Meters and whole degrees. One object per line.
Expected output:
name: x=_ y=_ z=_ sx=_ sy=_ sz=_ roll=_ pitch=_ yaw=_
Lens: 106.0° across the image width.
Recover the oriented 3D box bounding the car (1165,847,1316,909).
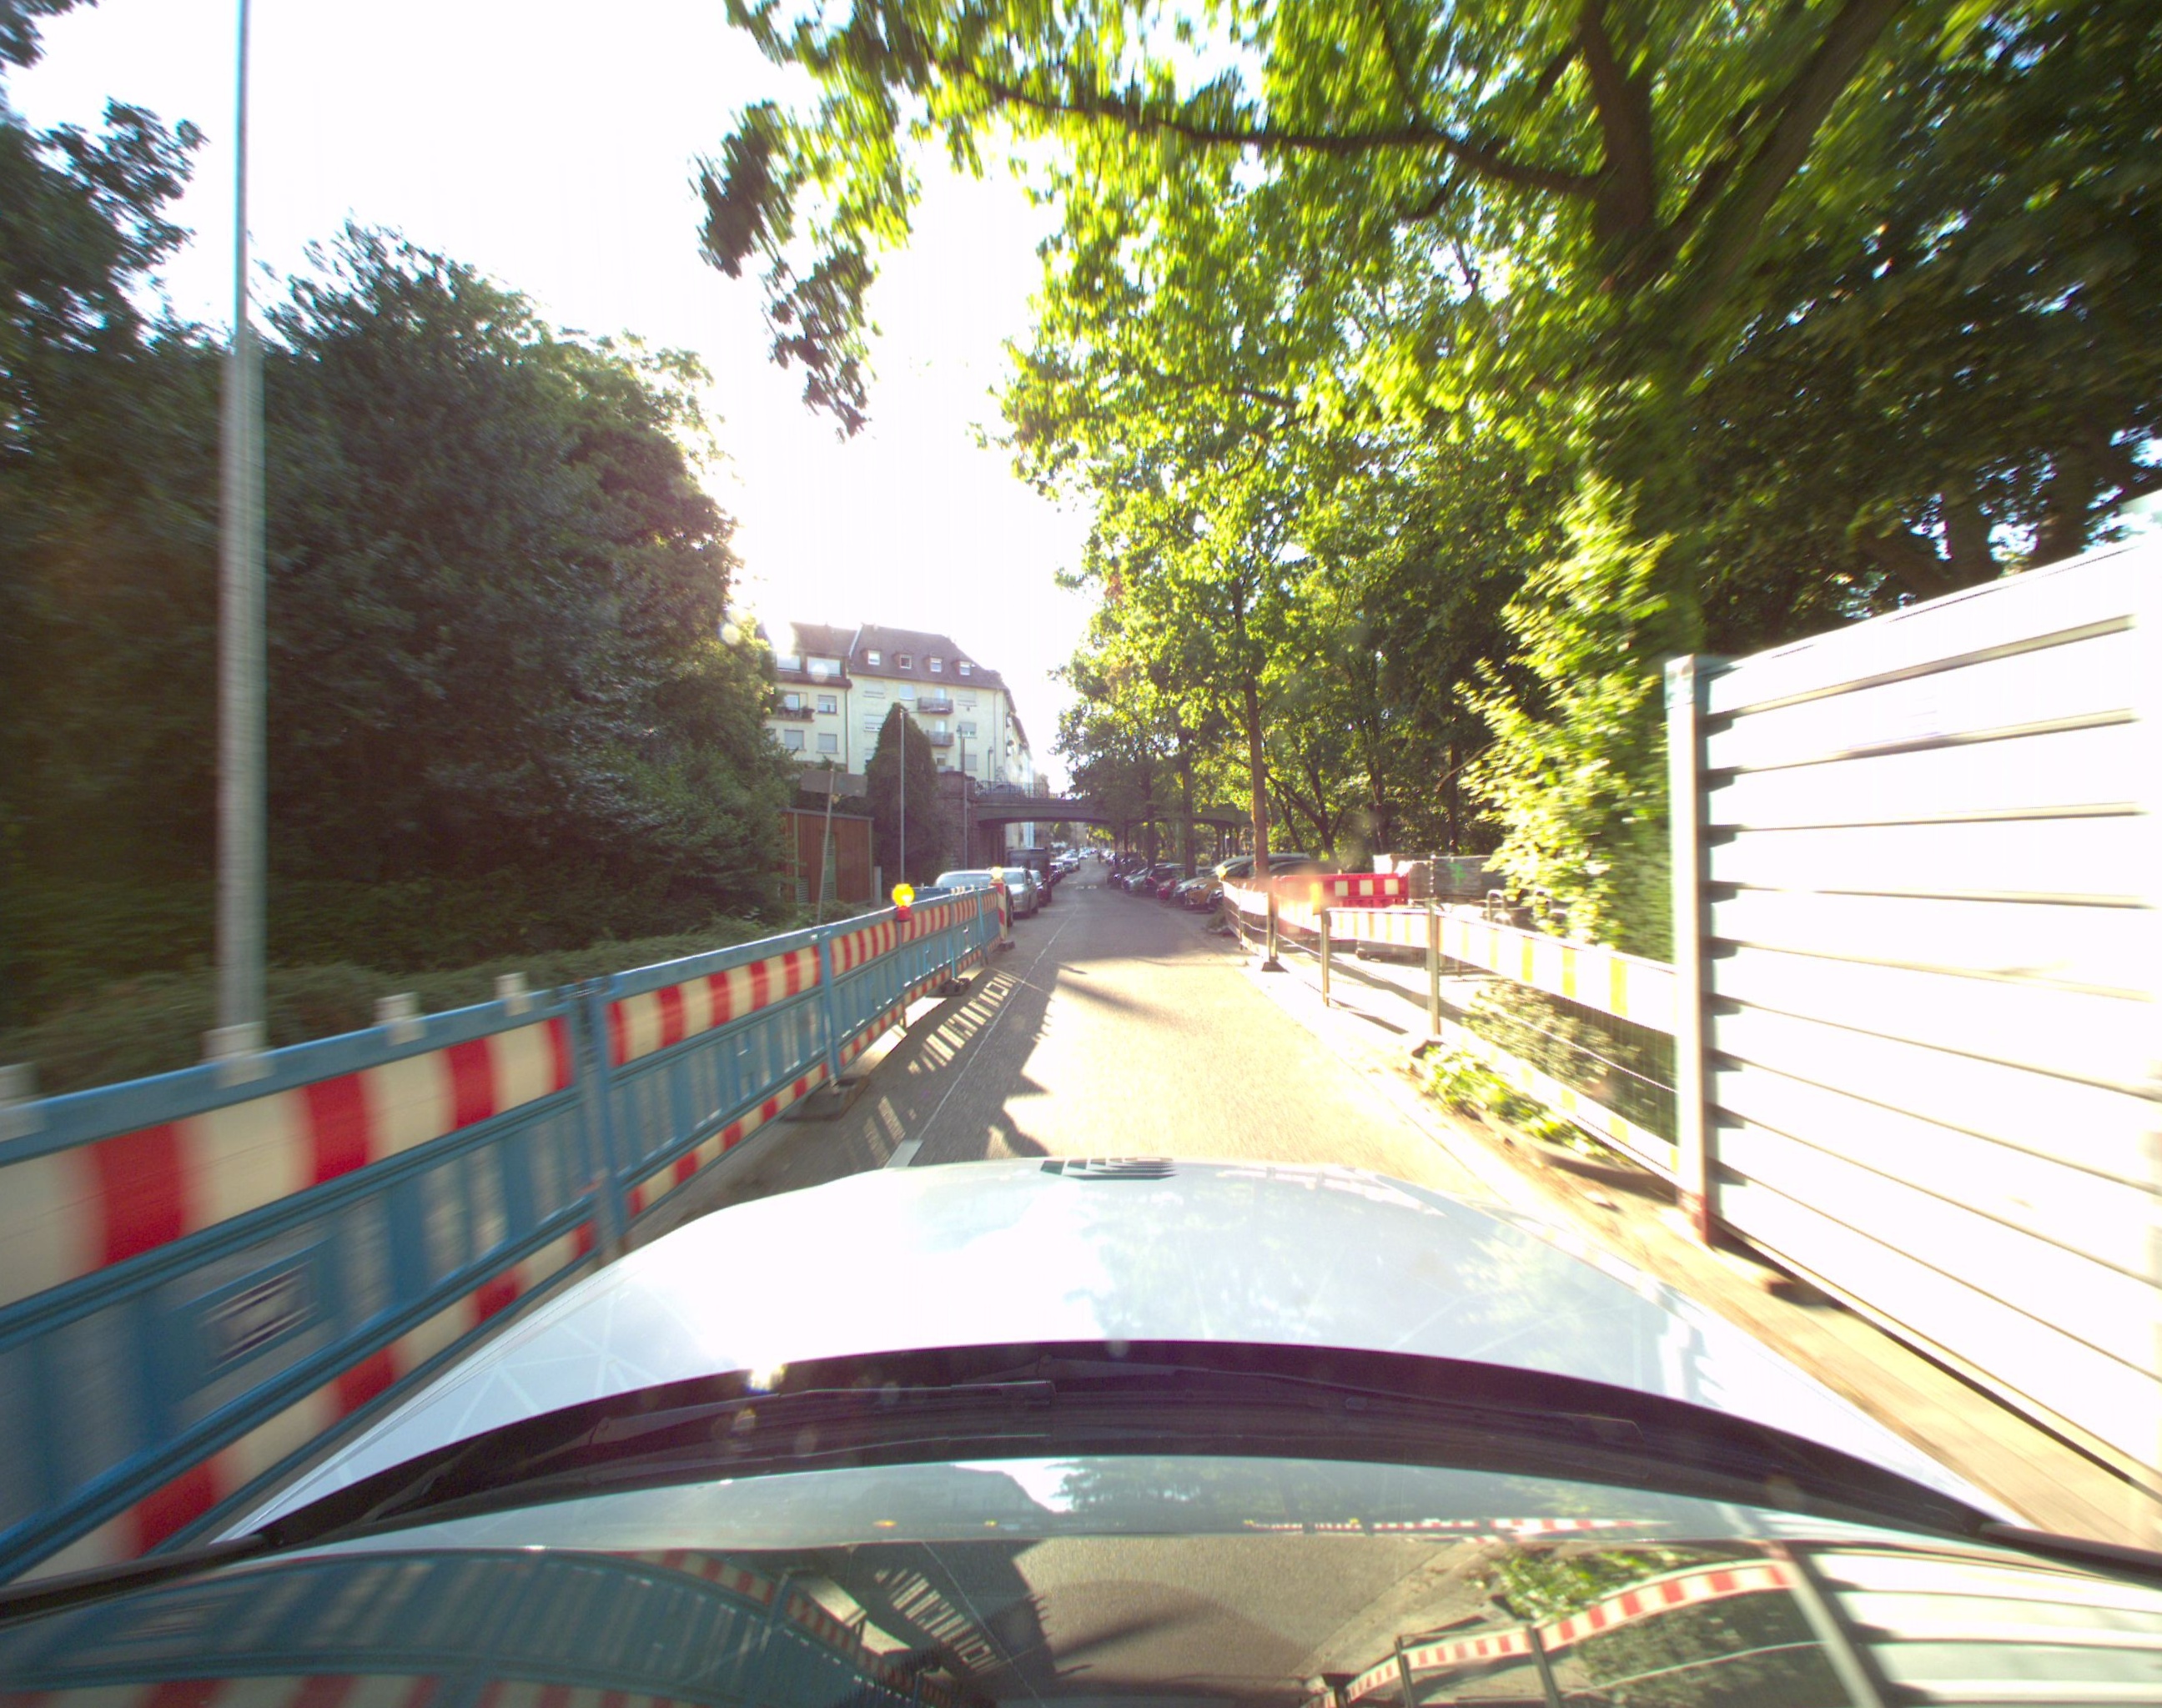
car: x=5.340 y=0.831 z=27.668 sx=4.730 sy=1.997 sz=1.915 roll=1 pitch=-2 yaw=-3

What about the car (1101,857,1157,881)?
car: x=3.828 y=1.248 z=65.626 sx=4.375 sy=1.862 sz=1.915 roll=1 pitch=-2 yaw=-2

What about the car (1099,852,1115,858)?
car: x=6.880 y=0.193 z=216.921 sx=4.371 sy=1.610 sz=1.781 roll=1 pitch=-2 yaw=1

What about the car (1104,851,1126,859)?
car: x=6.943 y=0.146 z=166.571 sx=4.371 sy=1.610 sz=1.781 roll=1 pitch=-2 yaw=1

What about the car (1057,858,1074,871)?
car: x=-1.747 y=1.284 z=95.386 sx=1.806 sy=1.397 sz=3.975 roll=-2 pitch=-1 yaw=0

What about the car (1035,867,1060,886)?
car: x=-2.634 y=1.780 z=64.848 sx=1.806 sy=1.397 sz=3.975 roll=-2 pitch=-1 yaw=0

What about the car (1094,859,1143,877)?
car: x=3.410 y=1.311 z=74.294 sx=4.375 sy=1.610 sz=1.779 roll=1 pitch=-2 yaw=-2

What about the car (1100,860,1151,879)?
car: x=3.859 y=1.366 z=71.842 sx=4.375 sy=1.610 sz=1.779 roll=1 pitch=-2 yaw=-2

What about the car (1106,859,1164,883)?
car: x=4.161 y=1.337 z=63.454 sx=4.375 sy=1.785 sz=1.915 roll=1 pitch=-2 yaw=-2

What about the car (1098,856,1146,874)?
car: x=3.829 y=1.045 z=76.749 sx=4.375 sy=1.610 sz=1.779 roll=1 pitch=-2 yaw=-2

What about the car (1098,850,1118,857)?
car: x=6.033 y=-0.088 z=180.335 sx=4.371 sy=1.610 sz=1.781 roll=1 pitch=-2 yaw=1

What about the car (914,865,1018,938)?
car: x=-2.522 y=1.019 z=18.774 sx=1.709 sy=1.418 sz=4.106 roll=-2 pitch=-1 yaw=0

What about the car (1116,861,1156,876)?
car: x=5.996 y=1.574 z=88.944 sx=4.371 sy=1.610 sz=1.781 roll=1 pitch=-2 yaw=1

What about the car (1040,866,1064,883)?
car: x=-2.484 y=1.762 z=70.642 sx=1.806 sy=1.397 sz=3.975 roll=-2 pitch=-1 yaw=0

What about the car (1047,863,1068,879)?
car: x=-2.190 y=1.643 z=76.717 sx=1.806 sy=1.397 sz=3.975 roll=-2 pitch=-1 yaw=0

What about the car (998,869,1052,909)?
car: x=-2.197 y=1.371 z=33.186 sx=1.806 sy=1.453 sz=4.350 roll=-2 pitch=-1 yaw=0

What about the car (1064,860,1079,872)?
car: x=-1.197 y=1.568 z=105.331 sx=1.806 sy=1.397 sz=3.975 roll=-2 pitch=-1 yaw=0

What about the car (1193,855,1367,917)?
car: x=5.458 y=0.880 z=22.696 sx=4.377 sy=1.606 sz=1.914 roll=1 pitch=-2 yaw=-3

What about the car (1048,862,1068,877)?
car: x=-2.340 y=1.547 z=82.651 sx=1.806 sy=1.397 sz=3.975 roll=-2 pitch=-1 yaw=0

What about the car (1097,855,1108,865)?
car: x=3.637 y=0.971 z=139.360 sx=1.768 sy=1.610 sz=4.402 roll=0 pitch=-2 yaw=1

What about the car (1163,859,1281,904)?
car: x=5.596 y=1.093 z=32.698 sx=4.375 sy=1.702 sz=1.915 roll=1 pitch=-2 yaw=-2

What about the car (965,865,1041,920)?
car: x=-2.260 y=1.092 z=24.601 sx=1.806 sy=1.440 sz=4.350 roll=1 pitch=0 yaw=0

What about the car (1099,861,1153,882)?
car: x=3.744 y=1.467 z=67.647 sx=4.375 sy=1.610 sz=1.779 roll=1 pitch=-2 yaw=-2

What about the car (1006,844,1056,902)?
car: x=-2.291 y=0.907 z=38.414 sx=2.041 sy=2.497 sz=5.694 roll=1 pitch=-1 yaw=-1

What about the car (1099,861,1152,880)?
car: x=3.761 y=1.429 z=69.665 sx=4.375 sy=1.610 sz=1.779 roll=1 pitch=-2 yaw=-2

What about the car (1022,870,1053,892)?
car: x=-2.873 y=1.785 z=54.721 sx=1.806 sy=1.397 sz=3.975 roll=-2 pitch=-1 yaw=0

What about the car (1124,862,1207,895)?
car: x=4.598 y=1.349 z=44.796 sx=4.375 sy=1.702 sz=1.915 roll=1 pitch=-2 yaw=-2

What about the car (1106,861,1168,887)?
car: x=4.006 y=1.450 z=58.755 sx=4.375 sy=1.785 sz=1.915 roll=1 pitch=-2 yaw=-2

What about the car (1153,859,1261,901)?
car: x=5.365 y=1.135 z=35.077 sx=4.375 sy=1.702 sz=1.915 roll=1 pitch=-2 yaw=-2

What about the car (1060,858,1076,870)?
car: x=-1.625 y=1.224 z=100.496 sx=1.806 sy=1.397 sz=3.975 roll=-2 pitch=-1 yaw=0

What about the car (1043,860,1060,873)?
car: x=-3.591 y=1.567 z=100.051 sx=1.806 sy=1.501 sz=3.975 roll=-2 pitch=-1 yaw=0

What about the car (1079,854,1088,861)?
car: x=0.527 y=0.754 z=175.954 sx=1.806 sy=1.397 sz=3.975 roll=-2 pitch=-1 yaw=0

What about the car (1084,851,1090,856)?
car: x=1.811 y=-0.169 z=238.872 sx=1.806 sy=1.397 sz=4.611 roll=-2 pitch=-1 yaw=0

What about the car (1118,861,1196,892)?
car: x=4.399 y=1.327 z=47.453 sx=4.375 sy=1.702 sz=1.915 roll=1 pitch=-2 yaw=-2

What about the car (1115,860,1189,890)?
car: x=4.342 y=1.297 z=50.051 sx=4.375 sy=1.785 sz=1.915 roll=1 pitch=-2 yaw=-2

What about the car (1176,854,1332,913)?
car: x=5.224 y=0.892 z=25.019 sx=4.375 sy=1.702 sz=1.915 roll=1 pitch=-2 yaw=-2

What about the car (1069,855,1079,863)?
car: x=-1.304 y=1.045 z=155.382 sx=1.806 sy=1.397 sz=3.975 roll=-2 pitch=-1 yaw=0

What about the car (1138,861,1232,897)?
car: x=5.075 y=1.220 z=40.172 sx=4.375 sy=1.702 sz=1.915 roll=1 pitch=-2 yaw=-2
